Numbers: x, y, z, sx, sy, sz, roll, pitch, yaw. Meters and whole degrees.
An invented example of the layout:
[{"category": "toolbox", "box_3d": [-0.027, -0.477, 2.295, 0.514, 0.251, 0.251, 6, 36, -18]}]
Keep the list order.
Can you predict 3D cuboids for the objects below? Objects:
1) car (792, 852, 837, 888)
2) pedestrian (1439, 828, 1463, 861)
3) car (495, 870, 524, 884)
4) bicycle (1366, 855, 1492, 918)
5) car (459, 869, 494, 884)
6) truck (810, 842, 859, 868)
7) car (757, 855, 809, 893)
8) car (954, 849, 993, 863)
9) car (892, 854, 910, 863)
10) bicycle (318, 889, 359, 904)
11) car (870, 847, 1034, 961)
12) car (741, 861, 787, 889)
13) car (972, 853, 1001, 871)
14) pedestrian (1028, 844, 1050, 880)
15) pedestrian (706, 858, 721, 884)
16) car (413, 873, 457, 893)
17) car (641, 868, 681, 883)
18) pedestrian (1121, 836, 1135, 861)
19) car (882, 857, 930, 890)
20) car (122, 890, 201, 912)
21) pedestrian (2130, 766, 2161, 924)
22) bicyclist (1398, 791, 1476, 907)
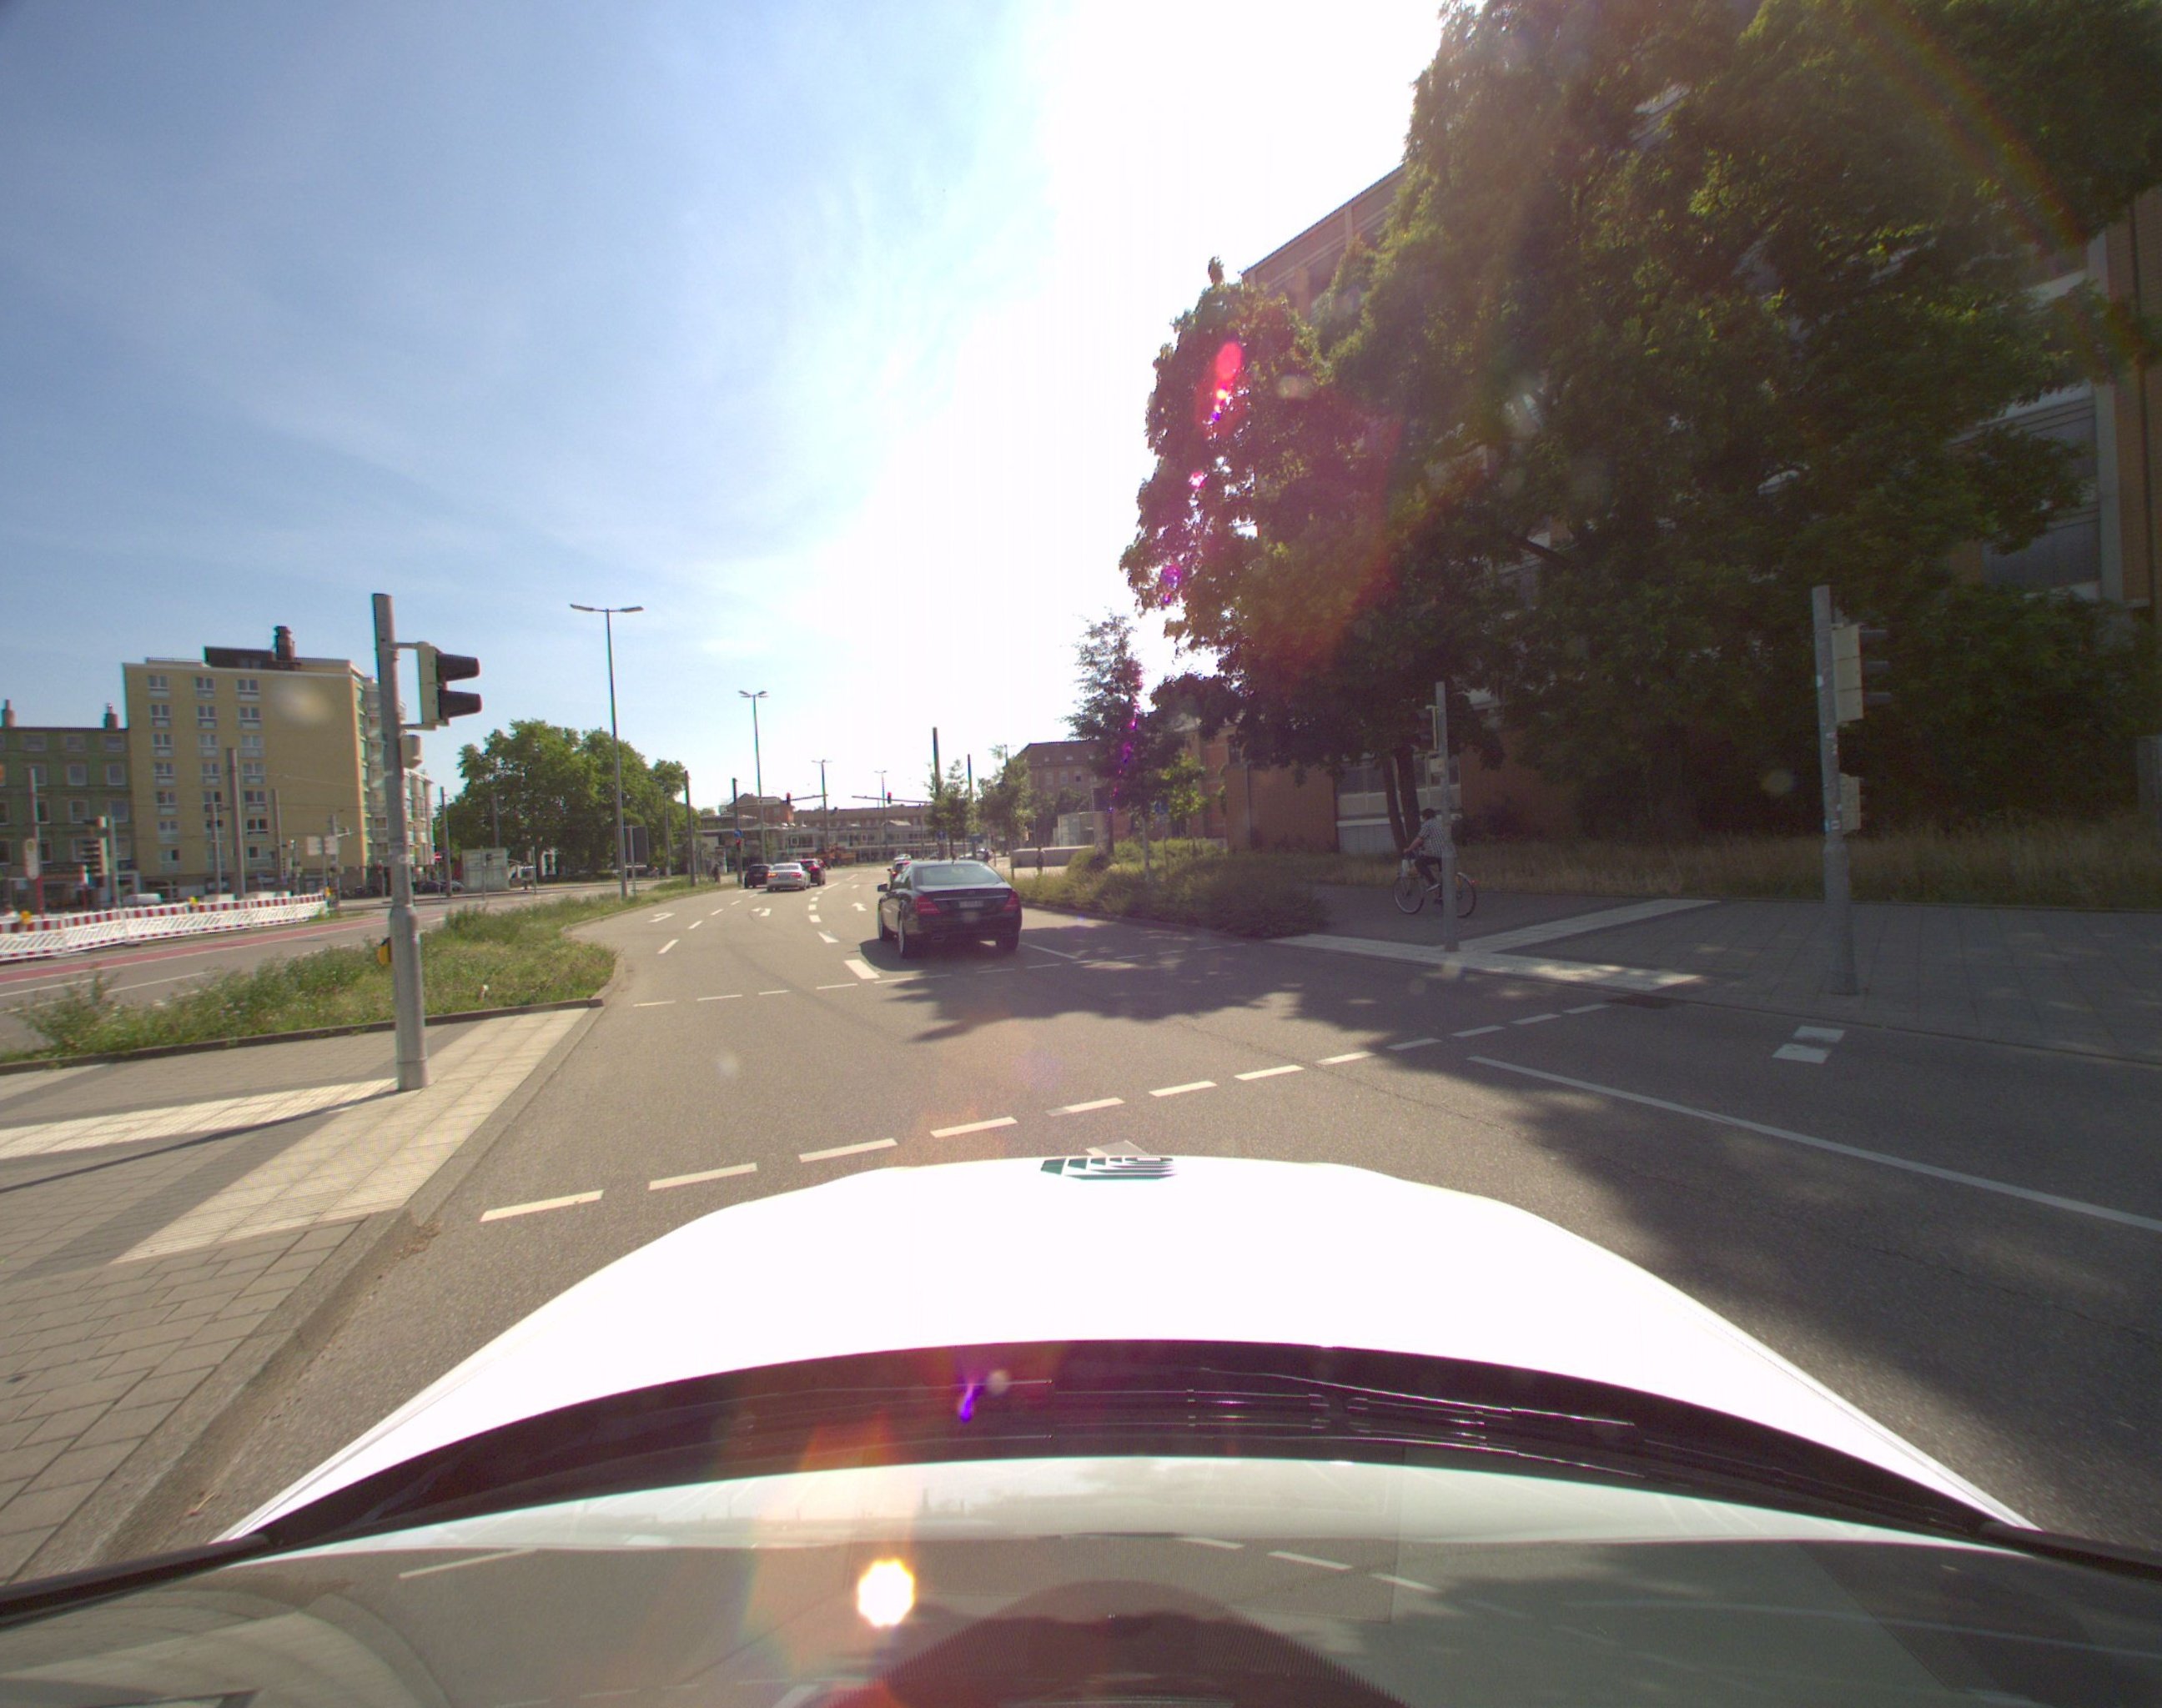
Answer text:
[{"category": "car", "box_3d": [-16.183, 0.920, 49.649, 1.994, 2.013, 3.986, -3, 1, -11]}, {"category": "pedestrian", "box_3d": [10.263, -0.265, 22.587, 0.395, 0.891, 0.425, -3, 0, -32]}, {"category": "car", "box_3d": [-98.663, 3.962, 140.572, 4.019, 2.013, 1.978, -4, 3, -37]}, {"category": "bicycle", "box_3d": [5.947, 0.539, 14.039, 0.696, 0.946, 1.941, -6, 1, -27]}, {"category": "car", "box_3d": [-90.144, 3.346, 121.438, 4.019, 2.013, 1.978, -4, 3, -37]}, {"category": "truck", "box_3d": [-38.971, 0.148, 129.101, 3.038, 3.730, 7.970, -3, 1, 20]}, {"category": "car", "box_3d": [-15.677, 1.003, 43.058, 1.996, 1.815, 3.982, -3, 1, -13]}, {"category": "car", "box_3d": [-13.110, 0.262, 99.534, 4.299, 1.510, 1.779, -4, 1, -40]}, {"category": "car", "box_3d": [-32.581, 0.856, 147.390, 1.784, 1.510, 4.010, -3, 0, 9]}, {"category": "bicycle", "box_3d": [-74.380, 4.250, 81.611, 2.836, 1.222, 0.983, -4, 3, -35]}, {"category": "car", "box_3d": [-2.424, 0.773, 14.147, 1.865, 1.530, 4.681, -4, 0, -20]}, {"category": "car", "box_3d": [-19.316, 1.228, 49.760, 1.795, 1.510, 3.985, -3, 1, -11]}, {"category": "car", "box_3d": [-8.914, 0.758, 76.831, 1.786, 1.510, 4.283, -3, 1, 5]}, {"category": "pedestrian", "box_3d": [-2.105, 0.392, 40.809, 0.873, 1.725, 0.795, -3, 0, -19]}, {"category": "pedestrian", "box_3d": [-24.418, 1.119, 54.094, 0.647, 1.661, 0.661, -3, 0, -8]}, {"category": "car", "box_3d": [-76.901, 3.463, 97.042, 4.019, 2.013, 1.978, -4, 3, -37]}, {"category": "car", "box_3d": [-48.809, 2.490, 94.661, 4.013, 1.510, 1.782, -3, 0, -31]}, {"category": "pedestrian", "box_3d": [3.242, -0.387, 56.255, 0.653, 1.661, 0.643, -3, 0, -34]}, {"category": "car", "box_3d": [-8.769, 0.930, 40.601, 1.800, 1.510, 3.974, -2, 0, -19]}, {"category": "car", "box_3d": [-78.242, 3.945, 69.344, 1.778, 1.510, 4.022, -3, 0, 22]}, {"category": "pedestrian", "box_3d": [11.215, -0.109, 8.149, 0.696, 1.579, 0.804, -3, 0, -40]}, {"category": "bicyclist", "box_3d": [6.029, -0.082, 13.813, 0.689, 1.878, 0.852, -3, -1, -27]}]
